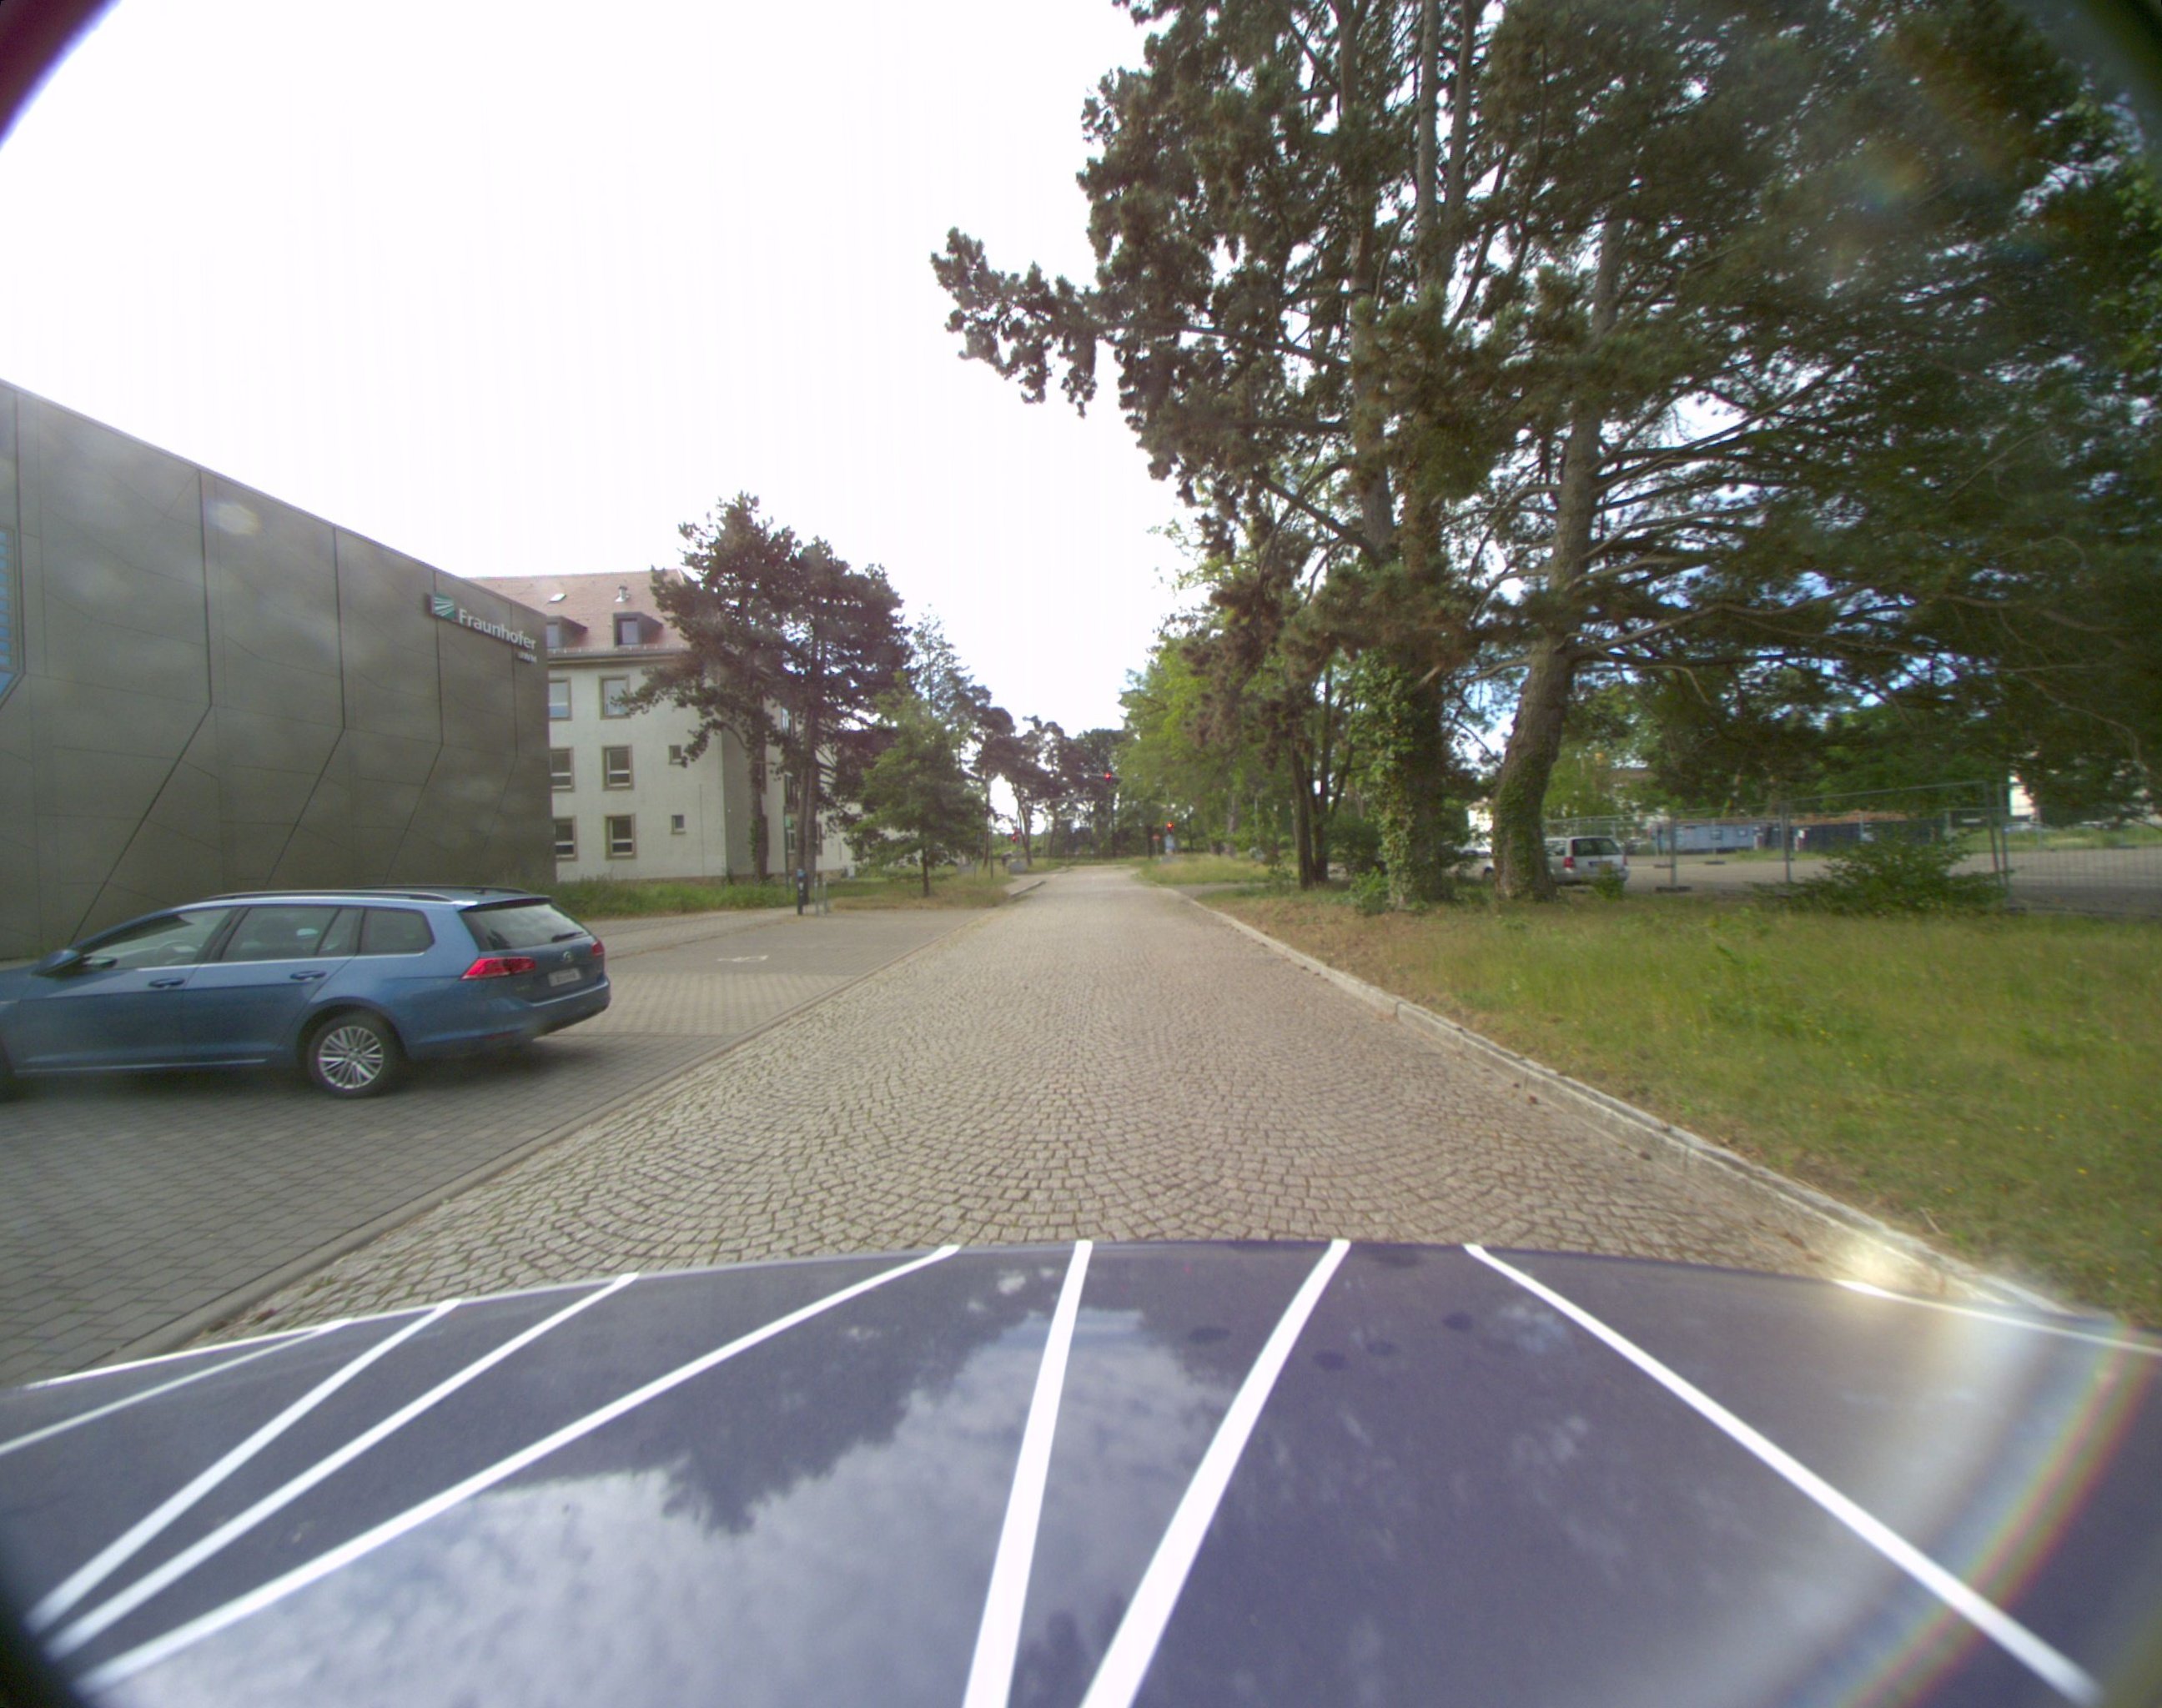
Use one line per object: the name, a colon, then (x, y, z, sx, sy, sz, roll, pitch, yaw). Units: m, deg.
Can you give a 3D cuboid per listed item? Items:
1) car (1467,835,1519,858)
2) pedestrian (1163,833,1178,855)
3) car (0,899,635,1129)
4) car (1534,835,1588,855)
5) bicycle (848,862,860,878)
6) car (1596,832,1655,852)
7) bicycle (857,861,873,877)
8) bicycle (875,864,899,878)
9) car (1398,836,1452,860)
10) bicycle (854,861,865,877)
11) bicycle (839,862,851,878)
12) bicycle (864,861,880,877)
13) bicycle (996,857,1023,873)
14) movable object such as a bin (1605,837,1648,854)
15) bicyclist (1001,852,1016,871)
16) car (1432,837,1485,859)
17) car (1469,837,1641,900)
car: (31.453, -0.542, 58.144, 1.736, 1.512, 4.115, -2, -1, 1)
pedestrian: (6.388, -0.708, 53.968, 0.883, 1.509, 0.822, -2, 1, 15)
car: (-6.420, 1.150, 6.124, 4.534, 1.435, 1.823, 0, 0, -2)
car: (43.370, -0.800, 68.758, 1.840, 1.512, 4.585, -2, -1, -1)
bicycle: (-19.737, 1.356, 66.125, 0.572, 1.324, 1.837, -2, 0, -4)
car: (49.127, -1.028, 68.675, 1.840, 1.564, 4.585, -2, -1, -1)
bicycle: (-18.809, 1.298, 66.088, 0.572, 1.324, 1.839, -2, 0, 9)
bicycle: (-16.503, 1.416, 64.503, 1.836, 1.079, 0.573, -2, 2, 4)
car: (26.050, -0.409, 57.744, 1.840, 1.568, 4.585, -2, -1, -1)
bicycle: (-19.305, 1.329, 66.108, 0.482, 1.324, 1.837, -2, 0, -4)
bicycle: (-20.503, 1.386, 66.073, 0.572, 1.324, 1.837, -2, 0, -4)
bicycle: (-18.180, 1.285, 66.194, 0.572, 1.324, 1.839, -2, 0, 9)
bicycle: (-6.295, 0.966, 67.182, 2.167, 1.268, 0.962, -2, 1, -40)
movable object such as a bin: (32.313, -0.492, 45.025, 1.041, 0.927, 1.935, -1, 0, -6)
bicyclist: (-6.412, 0.628, 67.130, 0.919, 1.626, 0.962, -3, 1, -40)
car: (28.704, -0.404, 57.917, 1.839, 1.460, 4.586, -2, -1, 1)
car: (12.419, 0.341, 20.309, 1.720, 1.430, 4.466, -2, 0, -1)
